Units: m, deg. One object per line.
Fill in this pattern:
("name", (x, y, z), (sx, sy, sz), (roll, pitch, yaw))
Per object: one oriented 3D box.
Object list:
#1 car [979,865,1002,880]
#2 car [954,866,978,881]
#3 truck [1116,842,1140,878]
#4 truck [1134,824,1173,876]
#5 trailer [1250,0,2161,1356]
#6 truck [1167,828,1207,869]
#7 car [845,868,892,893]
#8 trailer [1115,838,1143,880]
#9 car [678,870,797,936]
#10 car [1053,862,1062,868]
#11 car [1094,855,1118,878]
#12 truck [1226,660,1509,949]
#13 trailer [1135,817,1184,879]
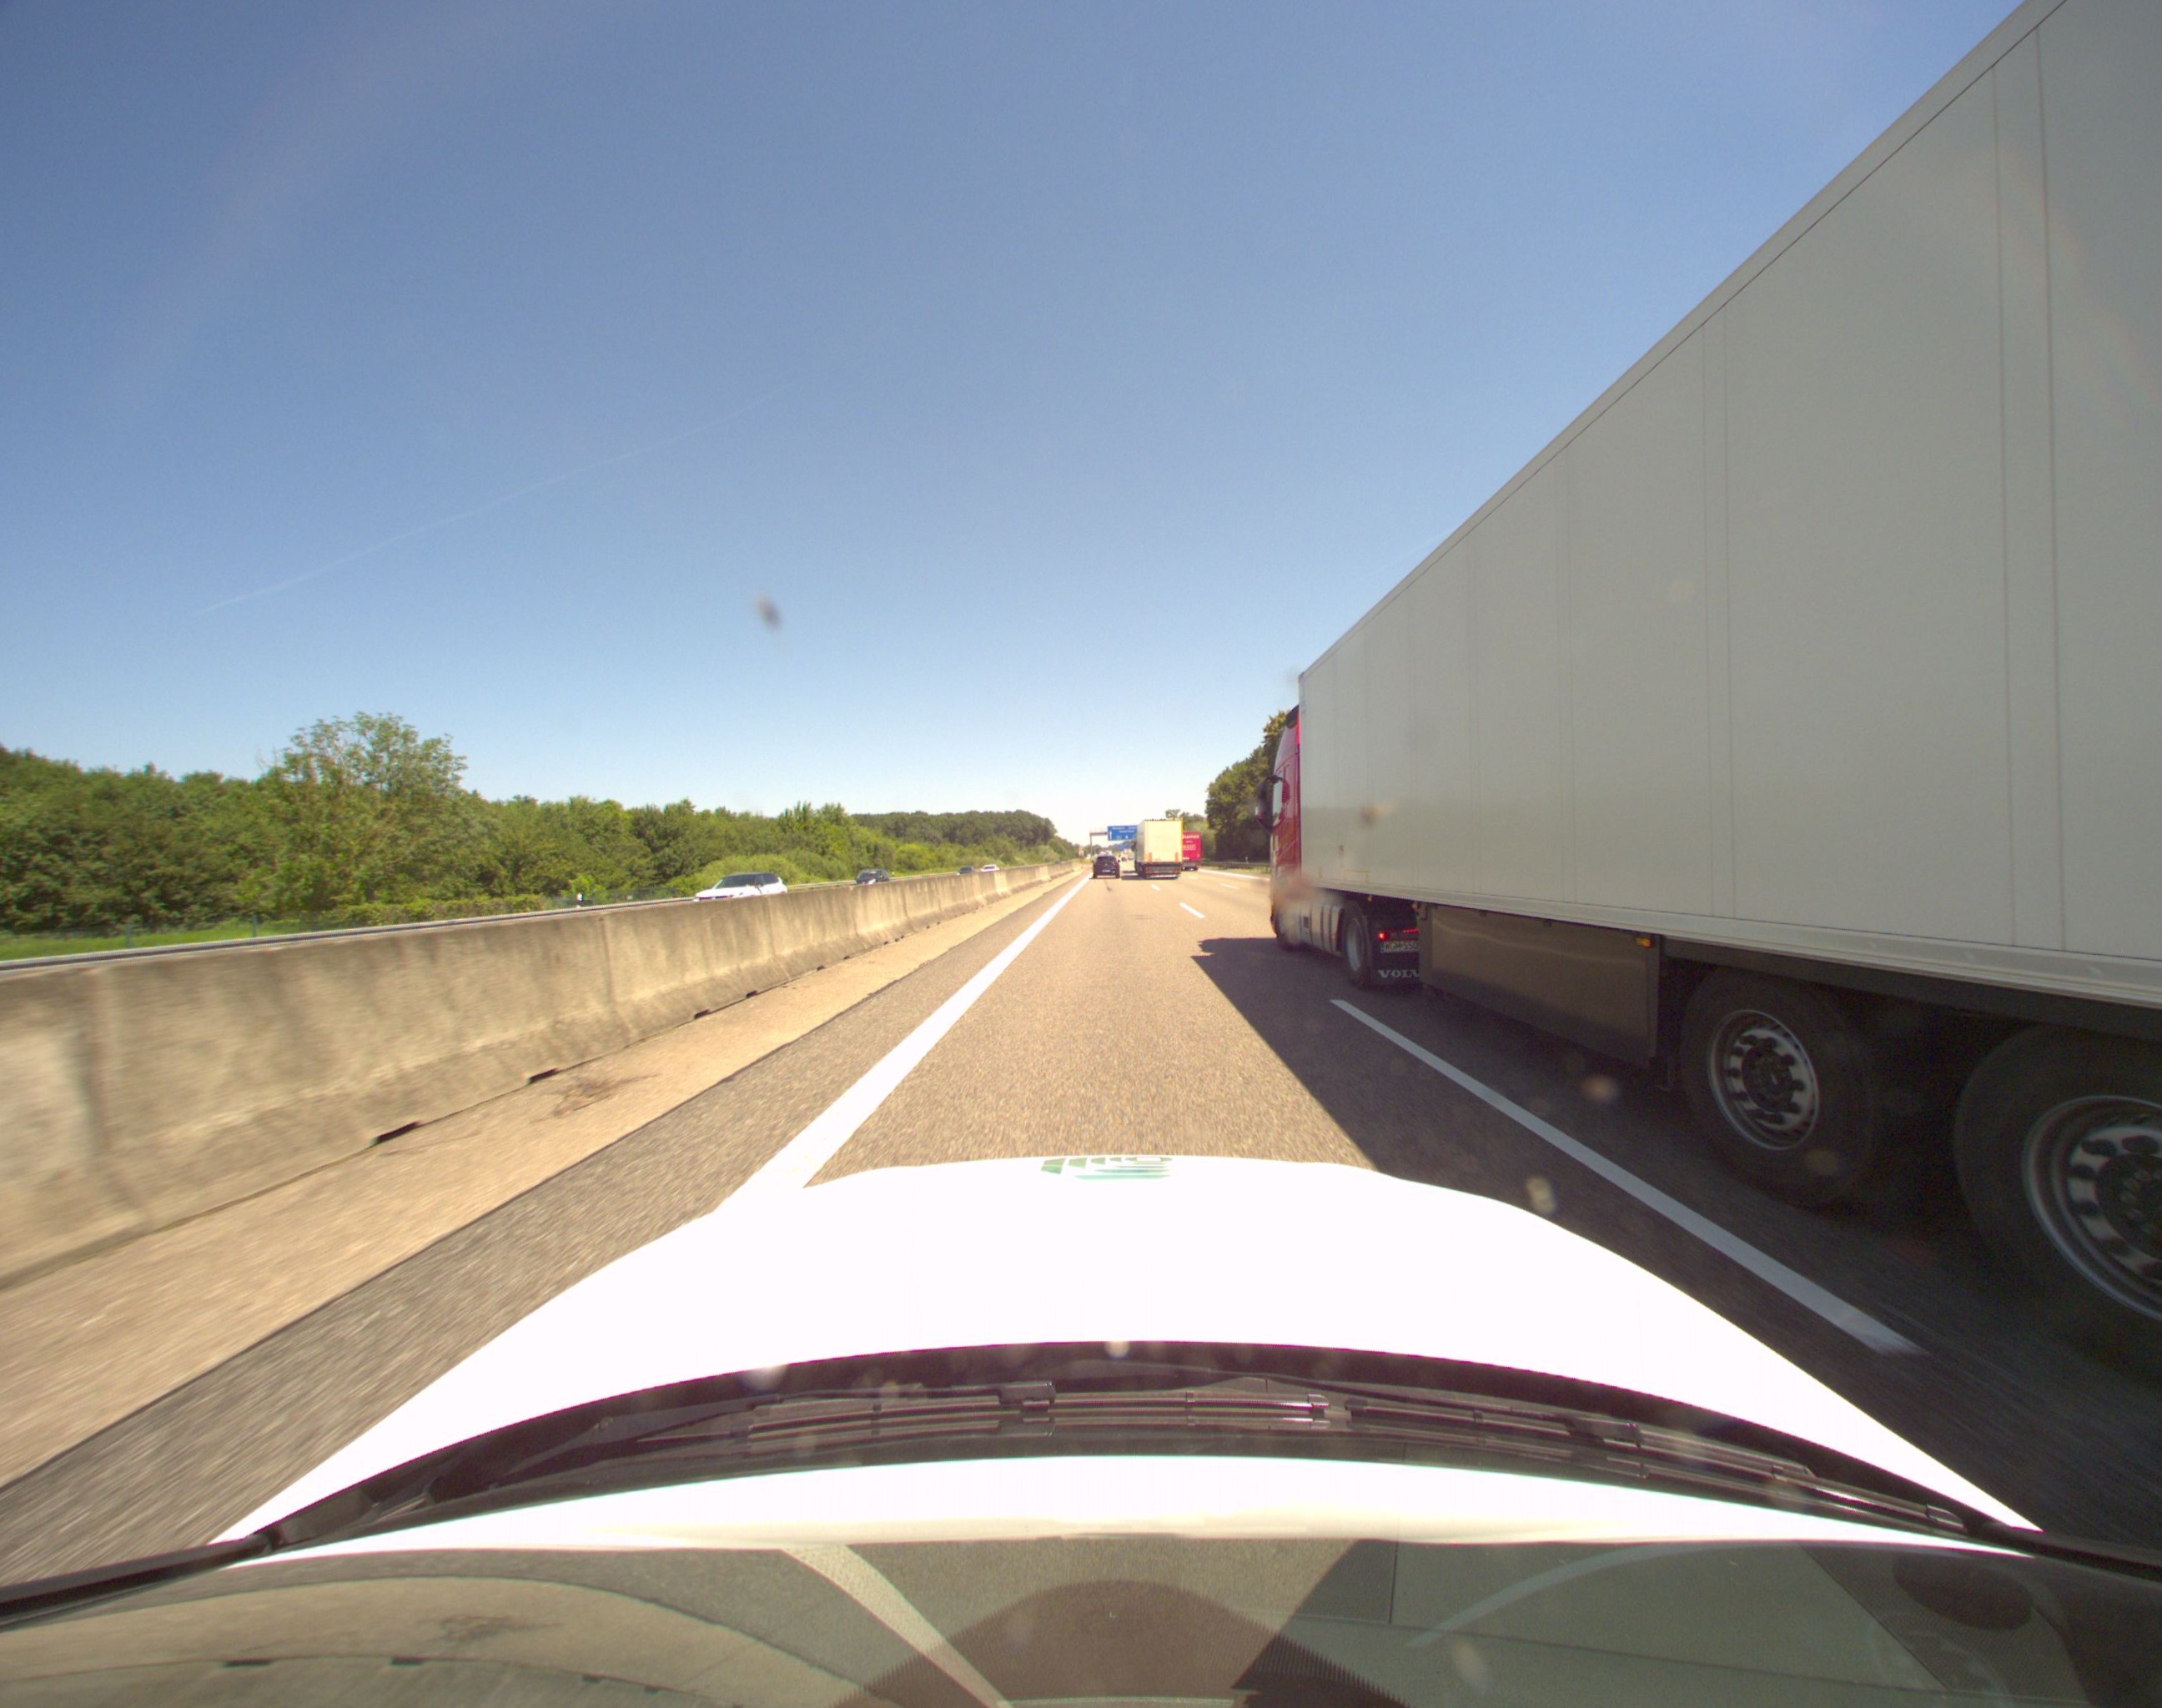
("car", (-10.041, 2.030, 90.649), (1.767, 1.538, 4.686), (-4, 0, 2))
("car", (-13.662, 2.296, 97.063), (1.901, 1.479, 4.827), (-4, 0, 2))
("truck", (5.509, 0.692, 96.288), (2.689, 4.094, 6.457), (-1, -1, 3))
("truck", (5.843, -0.290, 66.418), (2.789, 4.007, 6.023), (-1, 0, 2))
("trailer", (4.279, -0.734, 6.384), (2.927, 4.018, 16.205), (-1, 0, 2))
("truck", (11.600, -0.520, 90.685), (3.044, 4.106, 13.222), (-1, 0, 2))
("car", (-15.366, 1.883, 59.203), (1.986, 1.558, 4.686), (-4, 0, 2))
("trailer", (5.029, 0.584, 86.963), (2.696, 4.068, 14.755), (-1, -1, 3))
("car", (-12.326, 1.679, 29.640), (1.986, 2.013, 4.940), (-4, -1, 2))
("car", (-5.848, 2.806, 204.213), (1.763, 1.471, 4.002), (-3, -1, 2))
("car", (1.813, 0.899, 59.681), (1.654, 1.549, 3.784), (-2, 0, 2))
("truck", (4.511, -0.667, 14.344), (2.930, 3.986, 6.103), (-1, -1, 1))
("trailer", (5.587, -0.350, 59.827), (2.784, 4.035, 12.574), (-1, 0, 2))
